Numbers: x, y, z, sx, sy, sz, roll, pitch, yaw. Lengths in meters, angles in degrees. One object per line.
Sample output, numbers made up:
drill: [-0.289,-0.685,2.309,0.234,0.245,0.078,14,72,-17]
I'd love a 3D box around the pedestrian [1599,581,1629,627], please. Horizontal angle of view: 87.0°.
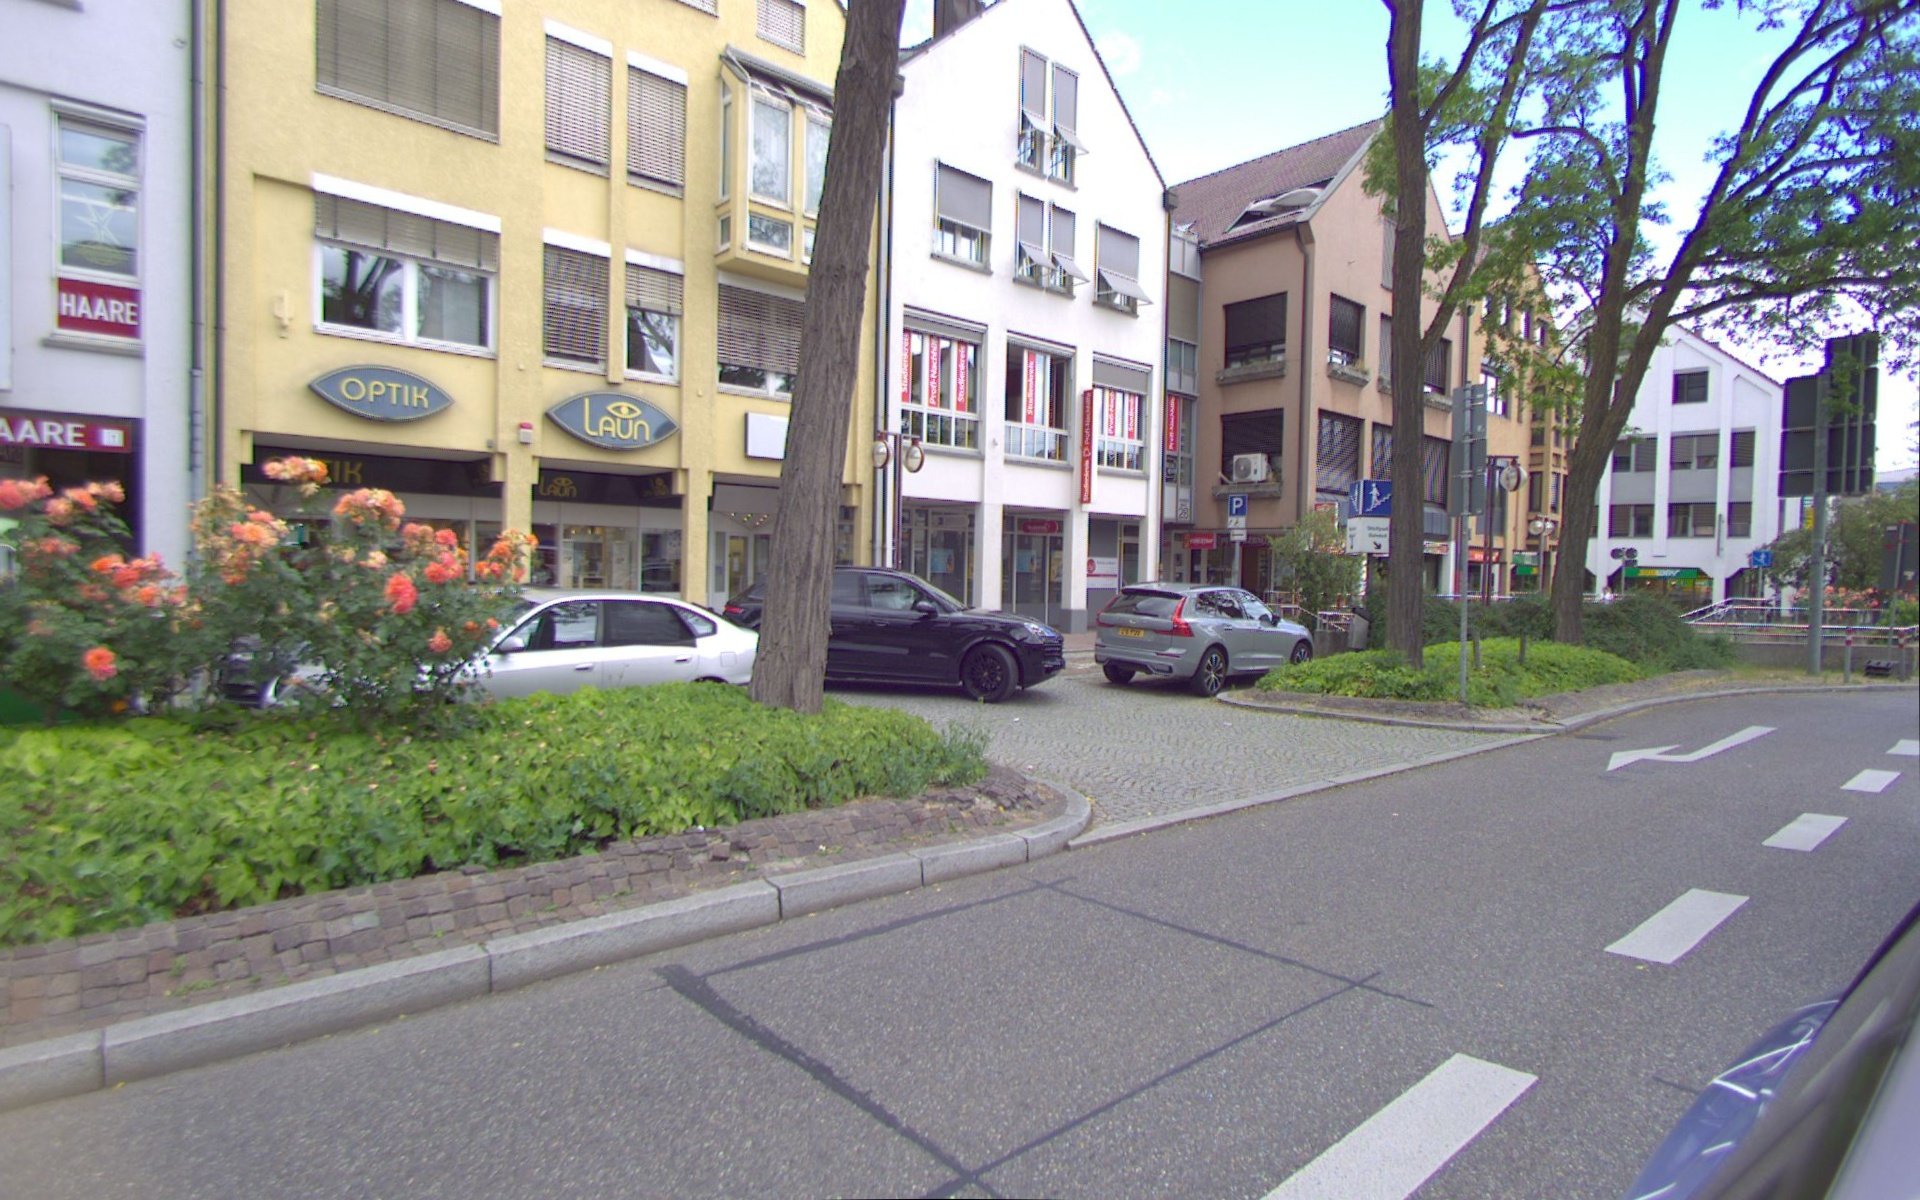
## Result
pedestrian: [26.551,0.170,41.099,0.772,1.846,0.869,0,0,-45]

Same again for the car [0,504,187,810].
car: [-7.546,0.306,6.031,4.528,1.899,1.883,0,3,-43]

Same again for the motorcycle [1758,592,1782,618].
motorcycle: [35.031,0.218,43.760,1.961,1.081,0.464,0,1,-41]

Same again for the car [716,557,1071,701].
car: [-0.850,0.337,14.067,4.578,1.690,1.858,2,2,3]

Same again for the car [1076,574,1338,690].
car: [4.199,0.432,16.723,4.685,1.615,1.995,0,2,-44]

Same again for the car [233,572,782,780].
car: [-4.000,0.527,9.433,4.344,1.468,1.765,0,2,-43]

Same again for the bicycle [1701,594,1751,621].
bicycle: [30.825,0.307,40.743,1.584,1.014,0.409,2,1,37]

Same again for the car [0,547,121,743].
car: [-9.428,0.335,7.924,4.320,1.561,1.799,0,3,-43]

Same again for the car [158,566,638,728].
car: [-6.108,0.396,11.309,4.344,1.393,2.000,0,3,-43]

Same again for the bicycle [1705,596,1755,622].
bicycle: [31.288,0.359,41.152,1.583,0.981,0.455,2,1,36]

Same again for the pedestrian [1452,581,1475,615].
pedestrian: [26.609,-0.103,53.469,0.882,1.779,0.931,2,1,38]
